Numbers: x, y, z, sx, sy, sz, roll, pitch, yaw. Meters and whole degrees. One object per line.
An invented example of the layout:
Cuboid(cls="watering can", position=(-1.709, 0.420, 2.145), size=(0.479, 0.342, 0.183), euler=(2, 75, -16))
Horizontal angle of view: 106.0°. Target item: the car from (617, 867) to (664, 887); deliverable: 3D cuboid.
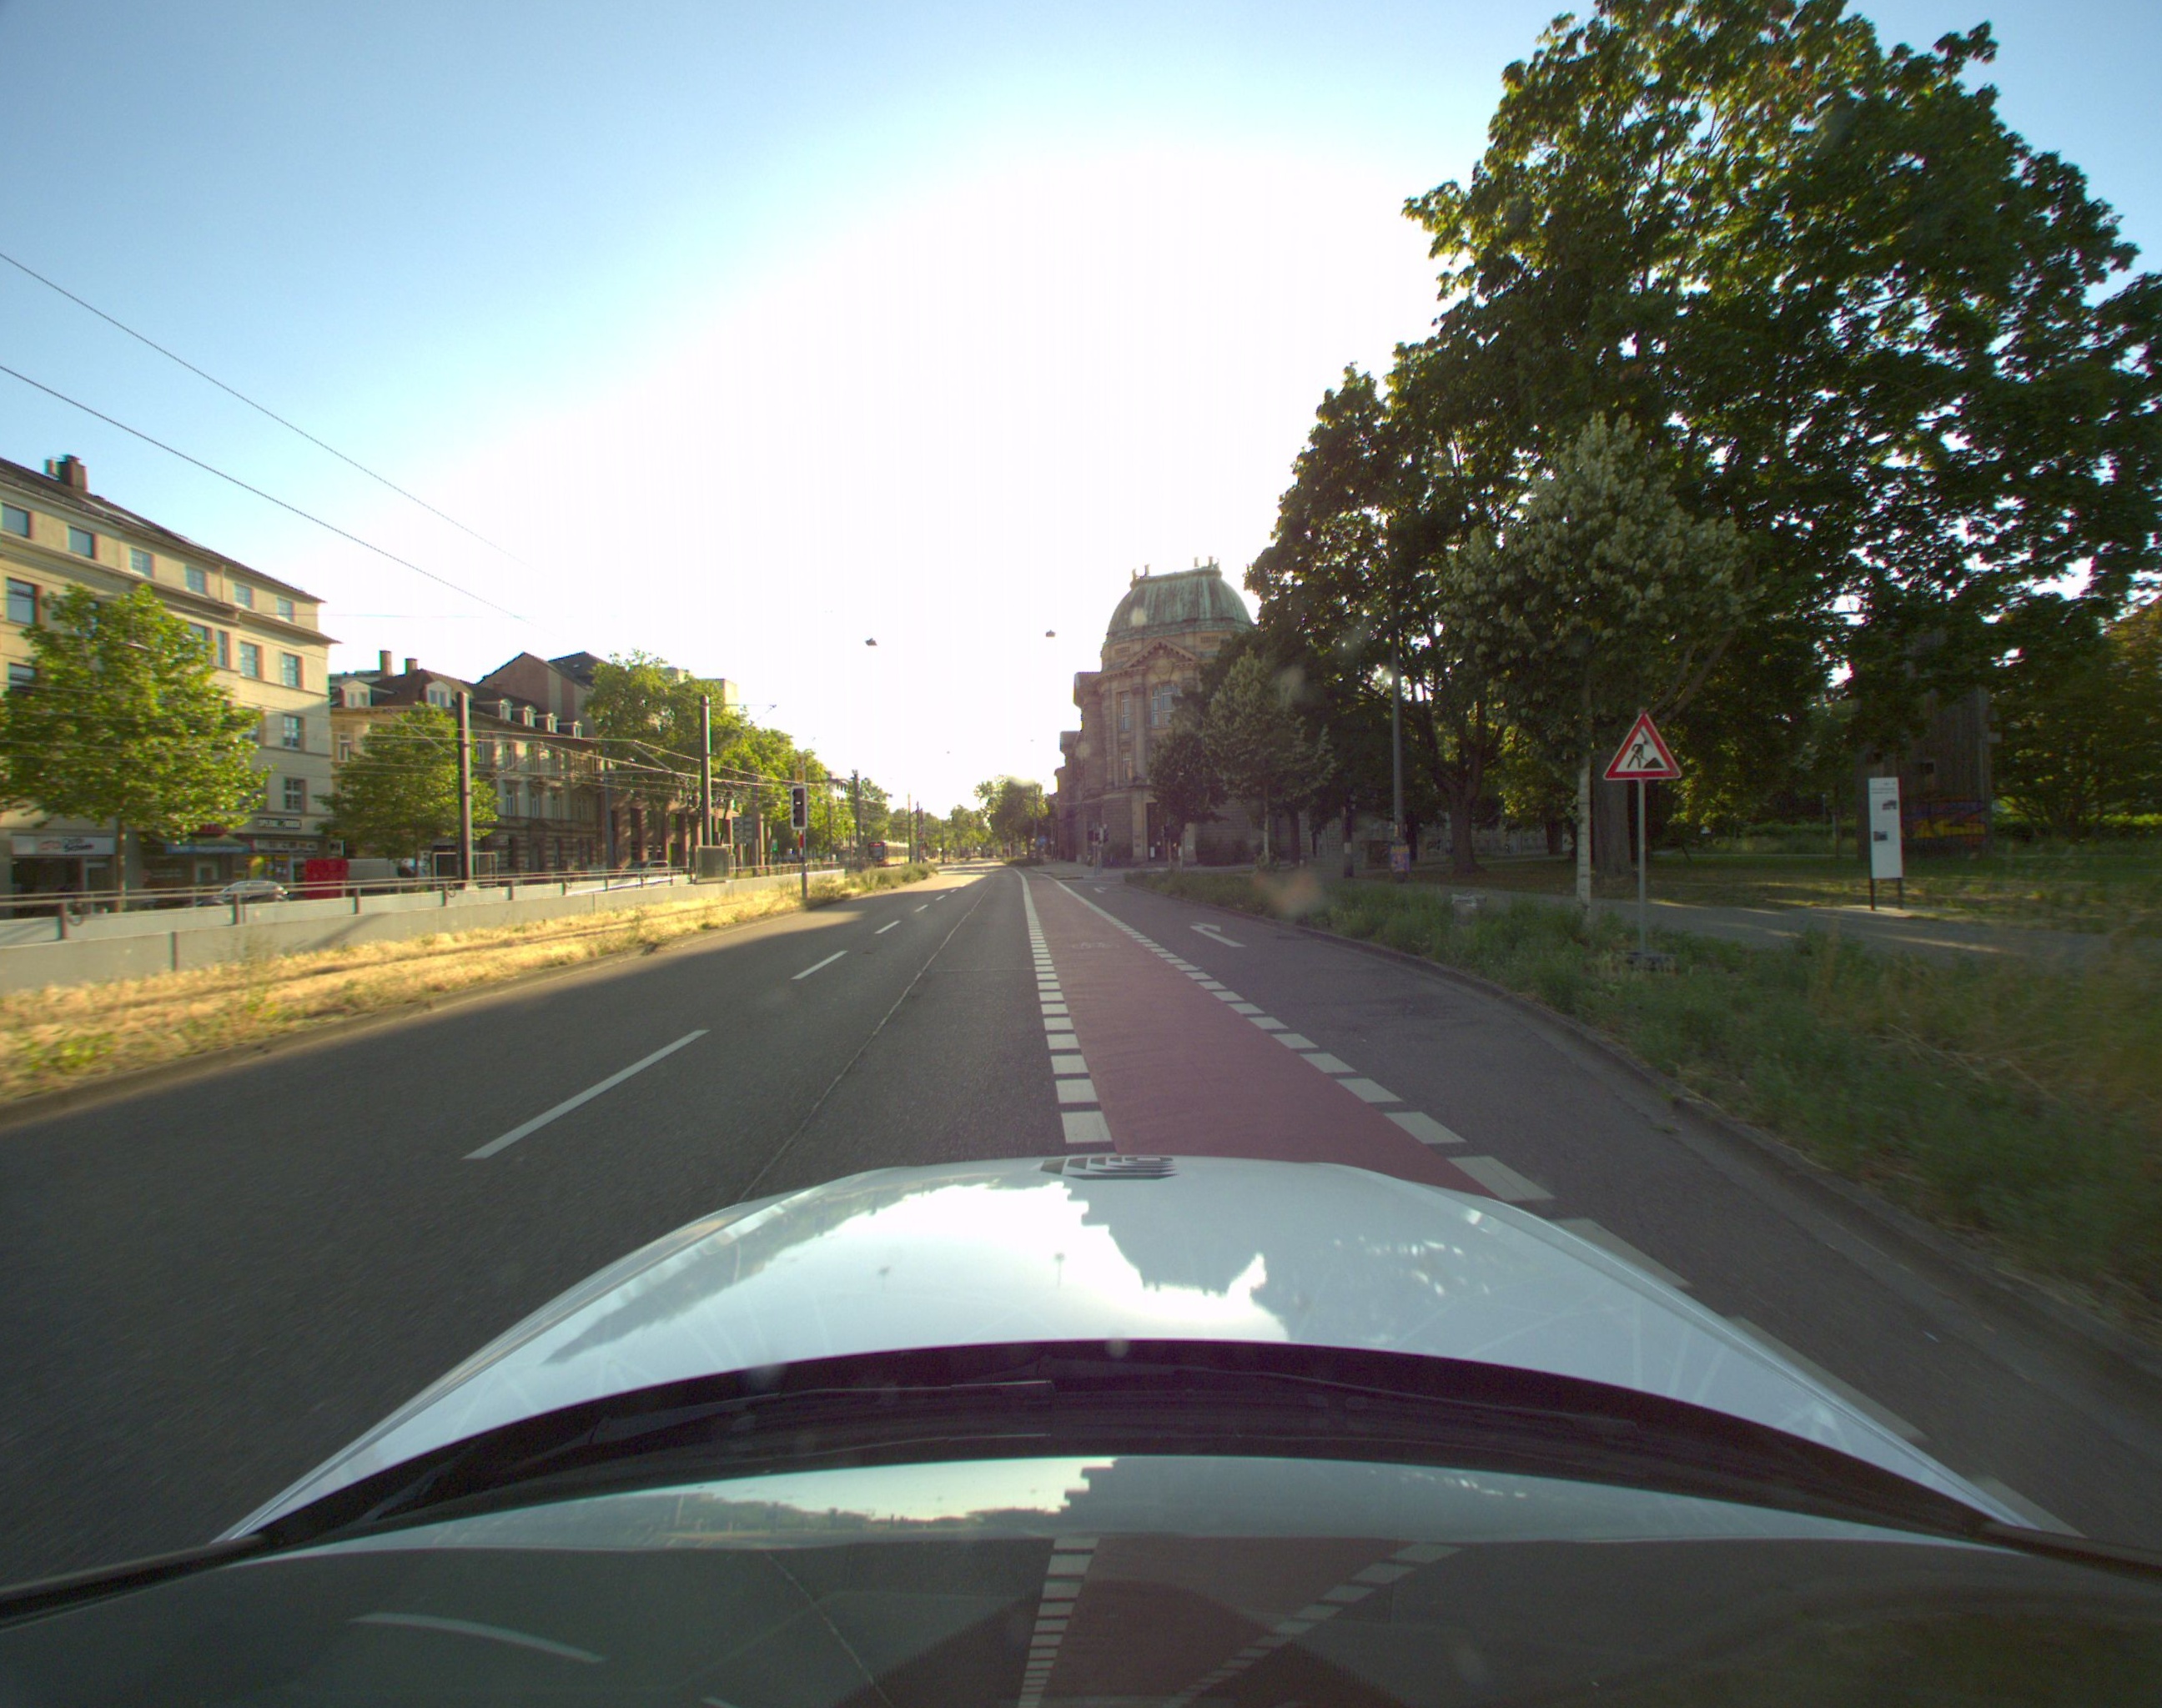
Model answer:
Cuboid(cls="car", position=(-38.491, 2.003, 71.228), size=(1.757, 1.585, 4.728), euler=(-2, 0, -4))

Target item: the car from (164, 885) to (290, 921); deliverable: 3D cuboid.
Cuboid(cls="car", position=(-35.596, 1.999, 34.093), size=(1.451, 1.332, 3.706), euler=(0, -1, -3))

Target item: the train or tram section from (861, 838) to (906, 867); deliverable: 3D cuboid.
Cuboid(cls="train or tram section", position=(-26.934, -0.141, 111.972), size=(3.106, 3.559, 17.451), euler=(-2, 0, -4))

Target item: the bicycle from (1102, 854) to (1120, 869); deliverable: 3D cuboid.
Cuboid(cls="bicycle", position=(2.556, 0.635, 68.691), size=(0.859, 1.196, 2.250), euler=(-2, 0, 19))

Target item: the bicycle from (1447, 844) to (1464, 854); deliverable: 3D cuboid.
Cuboid(cls="bicycle", position=(41.615, -0.570, 90.497), size=(1.992, 1.101, 0.845), euler=(-1, 2, -38))

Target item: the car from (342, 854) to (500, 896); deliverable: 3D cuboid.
Cuboid(cls="car", position=(-40.782, 1.286, 50.560), size=(7.267, 2.266, 2.462), euler=(-2, 0, -10))

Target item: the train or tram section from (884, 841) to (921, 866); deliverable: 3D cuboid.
Cuboid(cls="train or tram section", position=(-28.378, -0.100, 130.609), size=(3.107, 3.559, 19.899), euler=(-2, 0, -5))
